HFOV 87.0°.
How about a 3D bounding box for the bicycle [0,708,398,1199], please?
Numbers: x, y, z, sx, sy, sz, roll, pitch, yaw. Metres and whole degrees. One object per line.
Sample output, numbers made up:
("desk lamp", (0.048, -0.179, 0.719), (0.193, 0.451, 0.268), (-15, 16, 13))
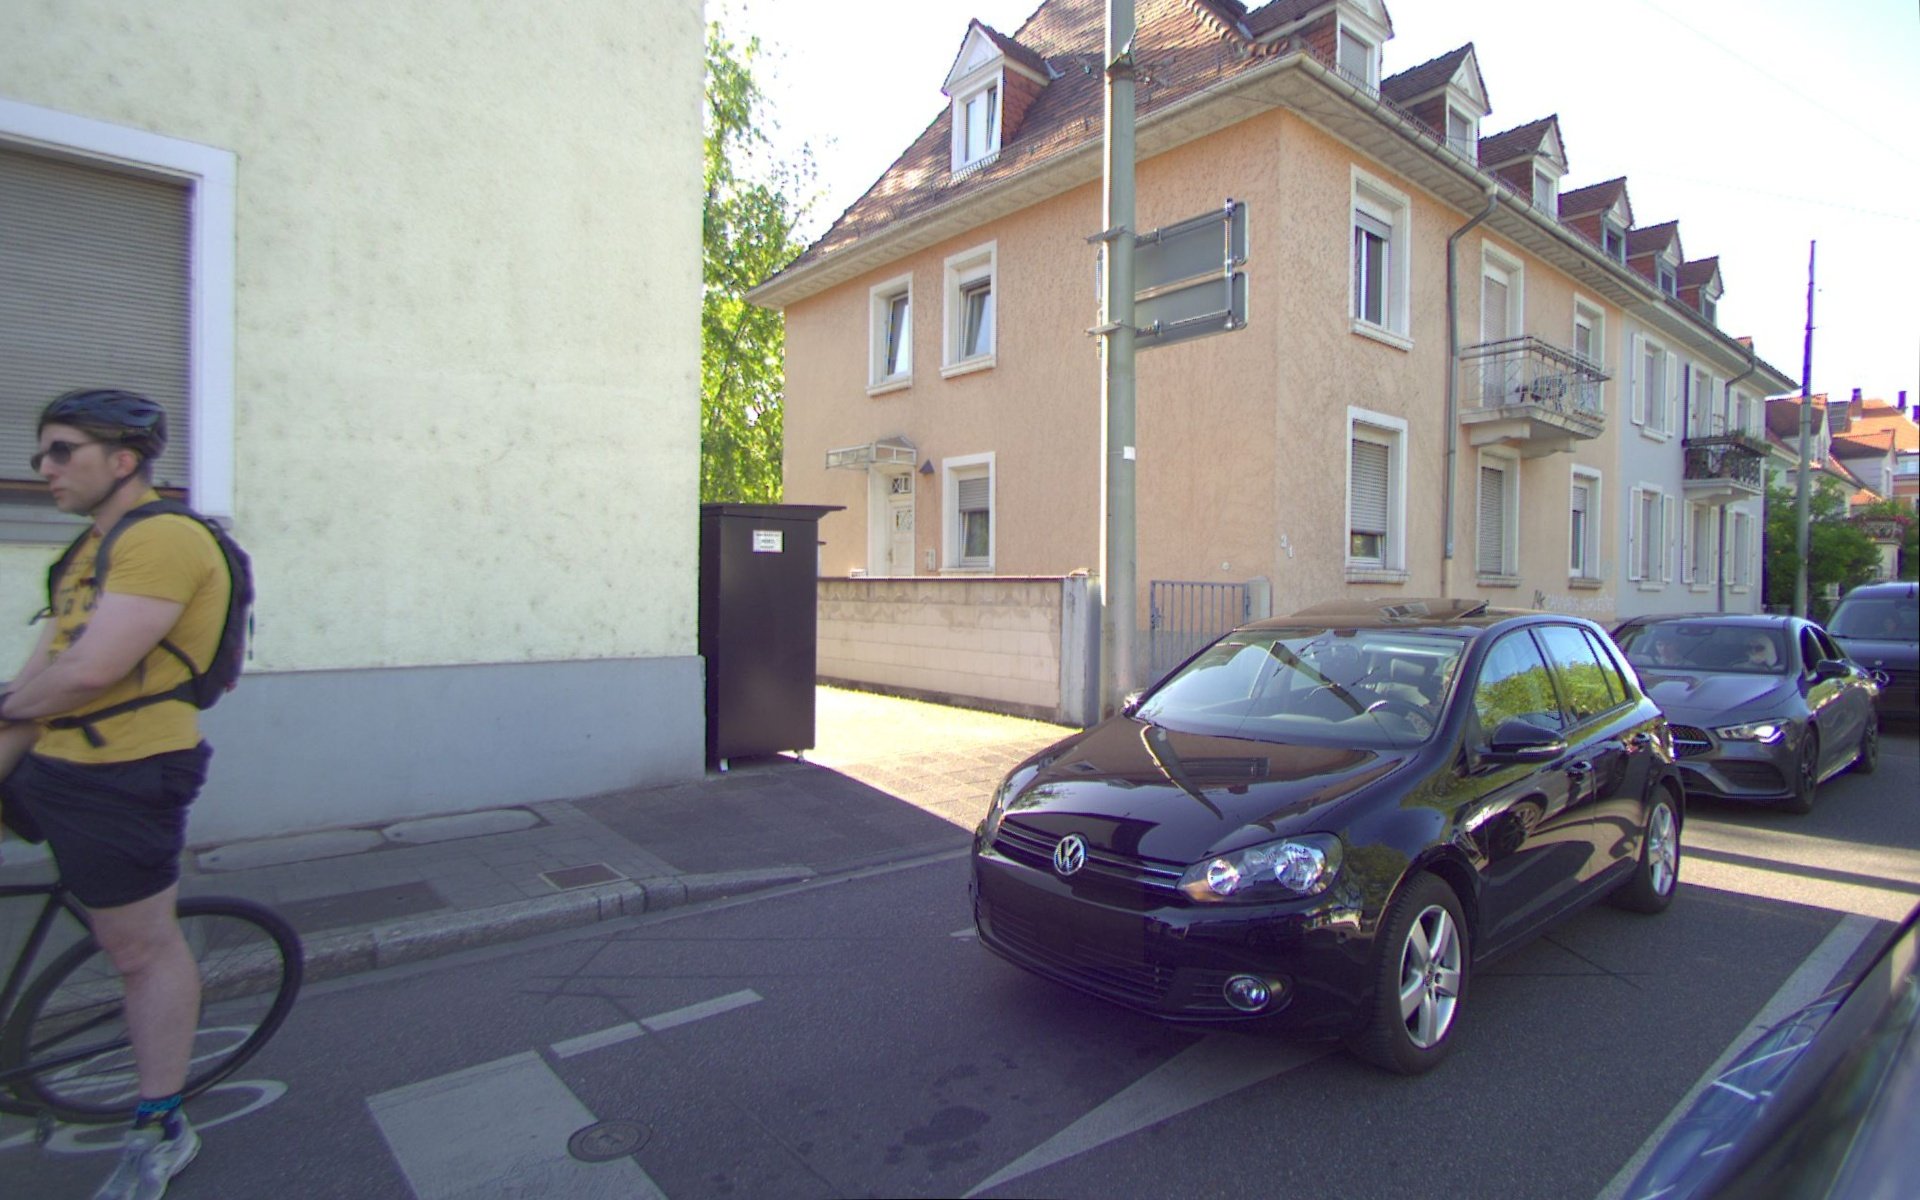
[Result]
("bicycle", (-2.382, 0.878, 2.384), (1.749, 1.044, 0.756), (-1, 0, -40))

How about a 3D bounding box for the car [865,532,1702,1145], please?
("car", (1.712, 0.638, 4.500), (3.979, 1.527, 1.731), (2, -1, -41))

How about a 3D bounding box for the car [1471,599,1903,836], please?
("car", (6.252, 0.735, 8.500), (4.413, 1.437, 1.911), (-1, 0, -40))

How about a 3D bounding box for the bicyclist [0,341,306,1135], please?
("bicyclist", (-2.209, 0.289, 2.534), (0.868, 1.684, 0.807), (0, 0, -40))

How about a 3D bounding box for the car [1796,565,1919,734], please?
("car", (12.048, 0.510, 12.538), (4.695, 1.827, 1.864), (-1, 0, -41))
